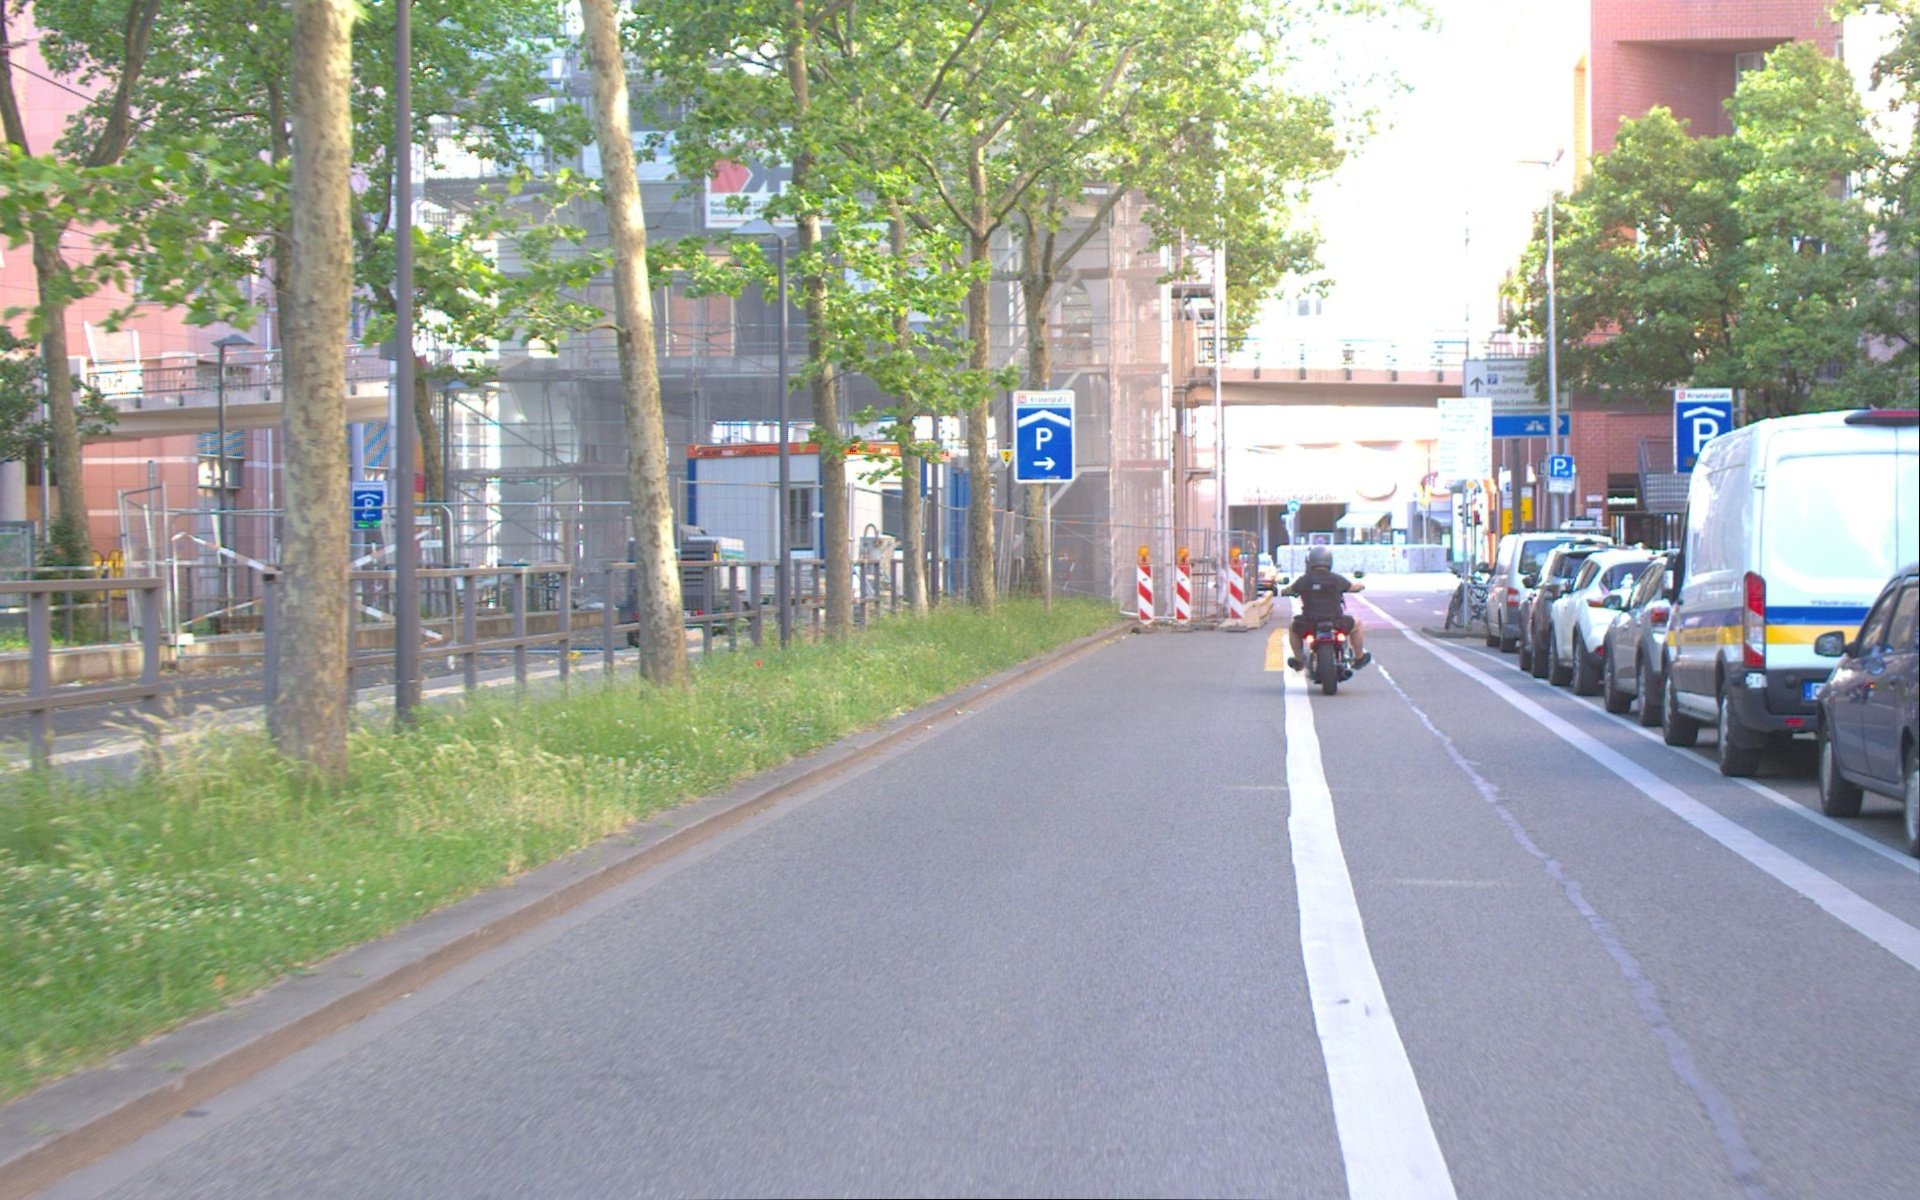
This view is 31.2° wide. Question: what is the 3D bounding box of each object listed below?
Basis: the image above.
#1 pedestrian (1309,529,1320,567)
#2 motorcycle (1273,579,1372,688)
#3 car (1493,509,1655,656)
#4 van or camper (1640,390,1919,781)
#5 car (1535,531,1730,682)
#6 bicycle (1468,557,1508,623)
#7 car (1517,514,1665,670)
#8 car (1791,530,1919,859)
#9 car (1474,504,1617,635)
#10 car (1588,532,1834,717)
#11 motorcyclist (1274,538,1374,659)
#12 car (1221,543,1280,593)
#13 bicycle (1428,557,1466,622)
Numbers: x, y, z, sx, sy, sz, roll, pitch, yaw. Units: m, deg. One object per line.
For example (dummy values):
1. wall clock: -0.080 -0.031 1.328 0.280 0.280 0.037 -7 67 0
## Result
1. pedestrian: 17.780 -2.598 172.290 0.541 1.875 0.529 0 1 6
2. motorcycle: 3.911 0.343 37.048 1.018 1.093 2.007 0 1 6
3. car: 8.732 -0.285 49.190 1.836 2.007 4.387 0 1 4
4. van or camper: 6.350 -0.151 25.197 2.049 2.532 5.772 0 1 5
5. car: 7.460 0.034 38.401 1.620 1.604 3.774 0 1 3
6. bicycle: 10.192 -0.205 66.384 0.664 1.230 2.227 0 1 6
7. car: 7.828 -0.130 42.853 1.620 1.859 3.773 0 1 7
8. car: 5.633 0.431 18.347 1.620 1.614 4.485 0 1 4
9. car: 9.298 -0.504 54.836 1.836 2.007 4.387 0 1 4
10. car: 6.857 0.178 31.704 1.620 1.598 3.774 0 1 3
11. motorcyclist: 3.921 -0.023 37.049 1.012 1.258 0.774 2 1 7
12. car: 10.251 -1.155 121.569 1.852 1.711 4.000 0 1 1
13. bicycle: 9.413 -0.216 66.494 0.664 1.230 2.227 0 1 6
